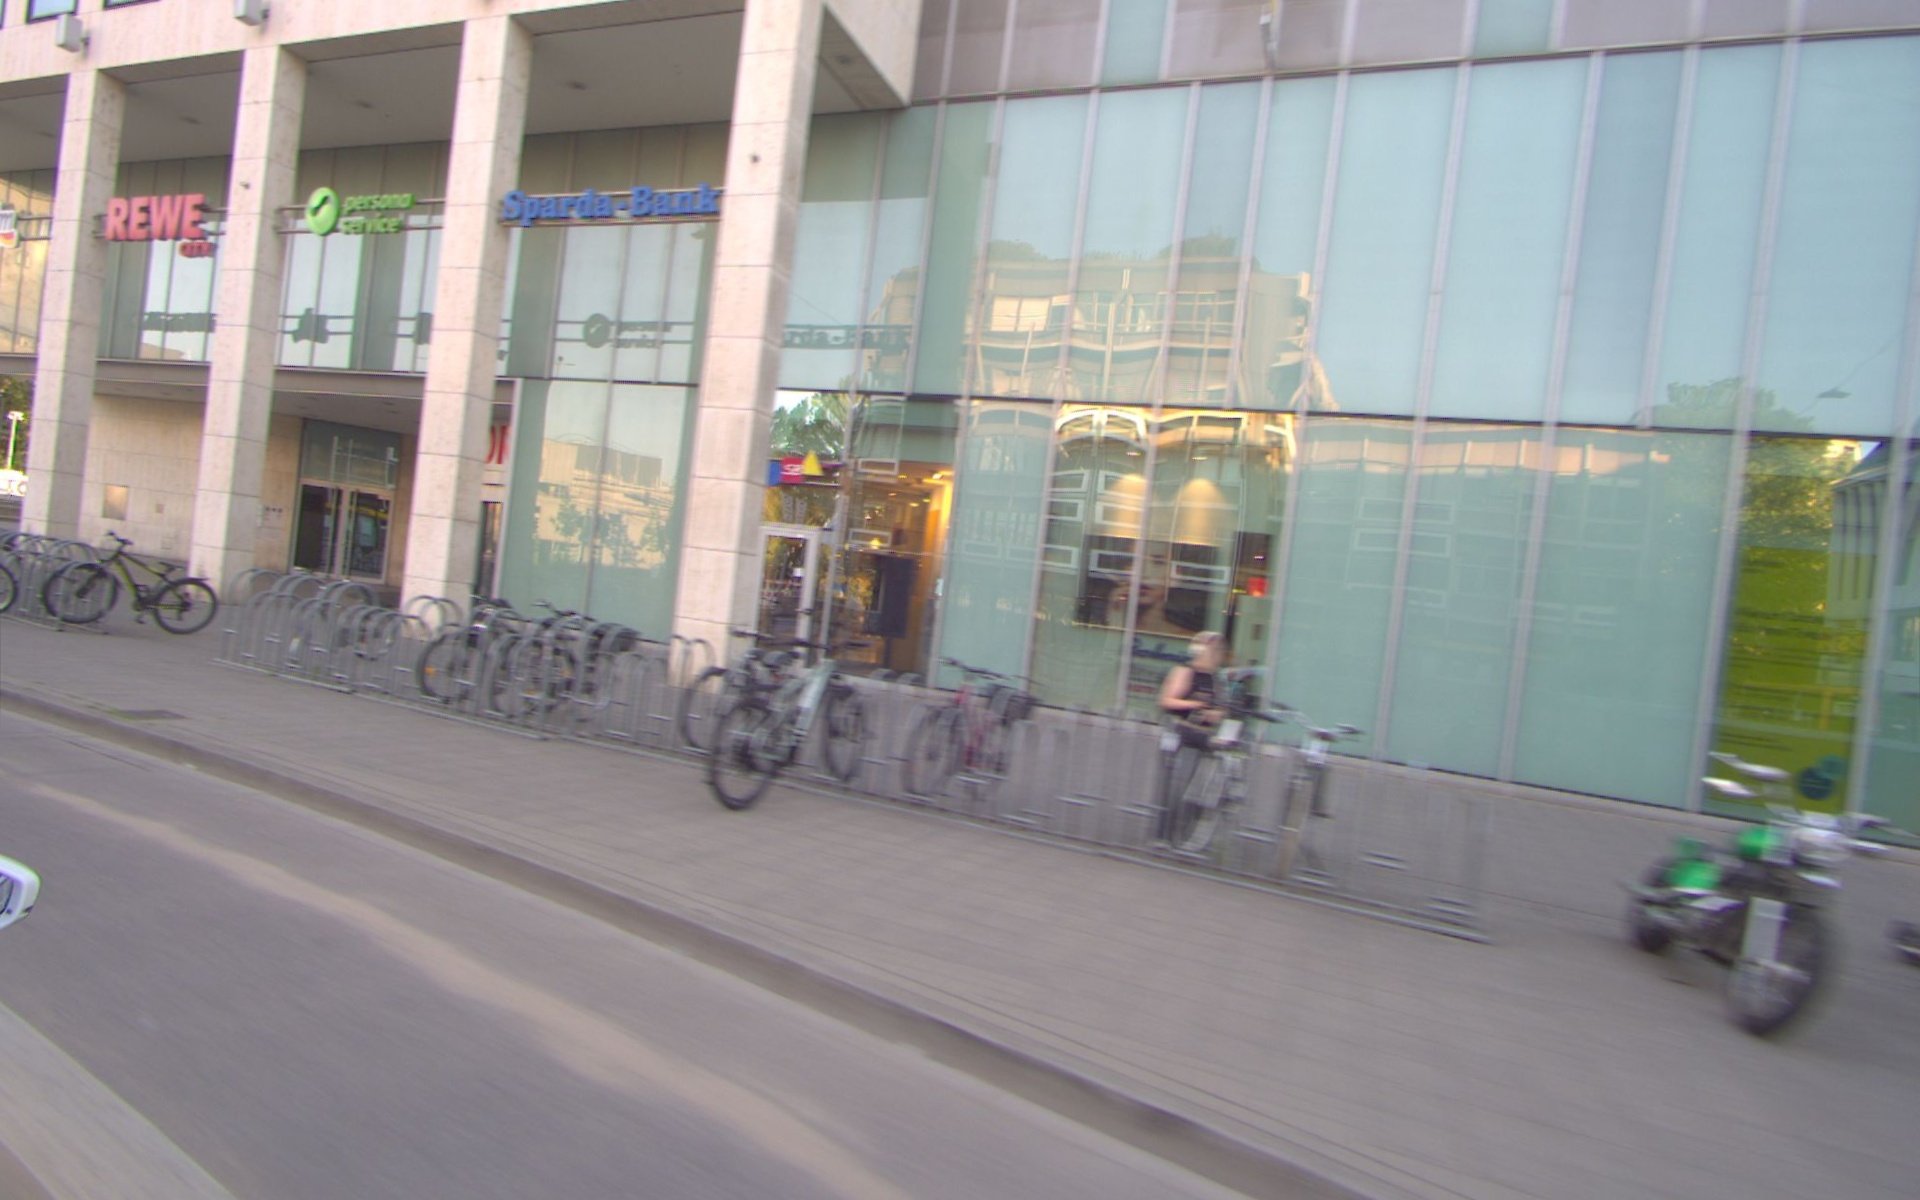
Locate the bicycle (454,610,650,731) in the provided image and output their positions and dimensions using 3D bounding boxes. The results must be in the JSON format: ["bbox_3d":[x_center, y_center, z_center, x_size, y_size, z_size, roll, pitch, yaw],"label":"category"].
[{"bbox_3d":[-3.695,0.628,9.297,0.507,0.948,1.813,7,0,20],"label":"bicycle"}]

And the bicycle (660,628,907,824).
[{"bbox_3d":[-1.168,0.838,7.187,0.560,1.143,1.992,7,0,26],"label":"bicycle"}]

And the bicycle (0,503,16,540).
[{"bbox_3d":[-30.042,-2.491,30.272,0.641,1.075,2.248,8,0,22],"label":"bicycle"}]

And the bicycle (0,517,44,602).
[{"bbox_3d":[-13.750,-0.646,13.588,0.560,1.126,1.878,7,-2,25],"label":"bicycle"}]

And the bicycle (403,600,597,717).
[{"bbox_3d":[-4.279,0.545,9.507,0.507,0.948,1.744,7,0,20],"label":"bicycle"}]

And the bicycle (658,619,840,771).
[{"bbox_3d":[-1.794,0.798,8.836,0.507,1.143,1.769,7,0,24],"label":"bicycle"}]

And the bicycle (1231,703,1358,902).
[{"bbox_3d":[2.518,1.395,7.425,0.507,1.143,1.992,7,0,26],"label":"bicycle"}]

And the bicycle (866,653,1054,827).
[{"bbox_3d":[0.071,1.083,8.019,0.546,1.142,1.995,7,-2,26],"label":"bicycle"}]

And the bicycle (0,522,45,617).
[{"bbox_3d":[-11.535,-0.413,11.173,0.560,1.060,1.902,7,0,26],"label":"bicycle"}]

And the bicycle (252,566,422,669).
[{"bbox_3d":[-7.146,0.207,11.639,0.589,1.036,1.709,7,0,11],"label":"bicycle"}]

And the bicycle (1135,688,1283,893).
[{"bbox_3d":[1.878,1.290,7.357,0.507,1.193,1.992,7,0,26],"label":"bicycle"}]

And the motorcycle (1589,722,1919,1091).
[{"bbox_3d":[4.382,1.489,5.547,0.890,1.349,2.306,7,0,19],"label":"motorcycle"}]

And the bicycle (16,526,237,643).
[{"bbox_3d":[-9.794,-0.149,11.915,0.590,1.112,1.822,7,-2,29],"label":"bicycle"}]

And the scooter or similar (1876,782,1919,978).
[{"bbox_3d":[6.780,1.934,6.505,0.393,1.272,1.113,7,0,-16],"label":"scooter or similar"}]

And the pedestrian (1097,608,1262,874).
[{"bbox_3d":[1.651,1.005,7.511,0.805,1.757,0.837,7,1,29],"label":"pedestrian"}]
